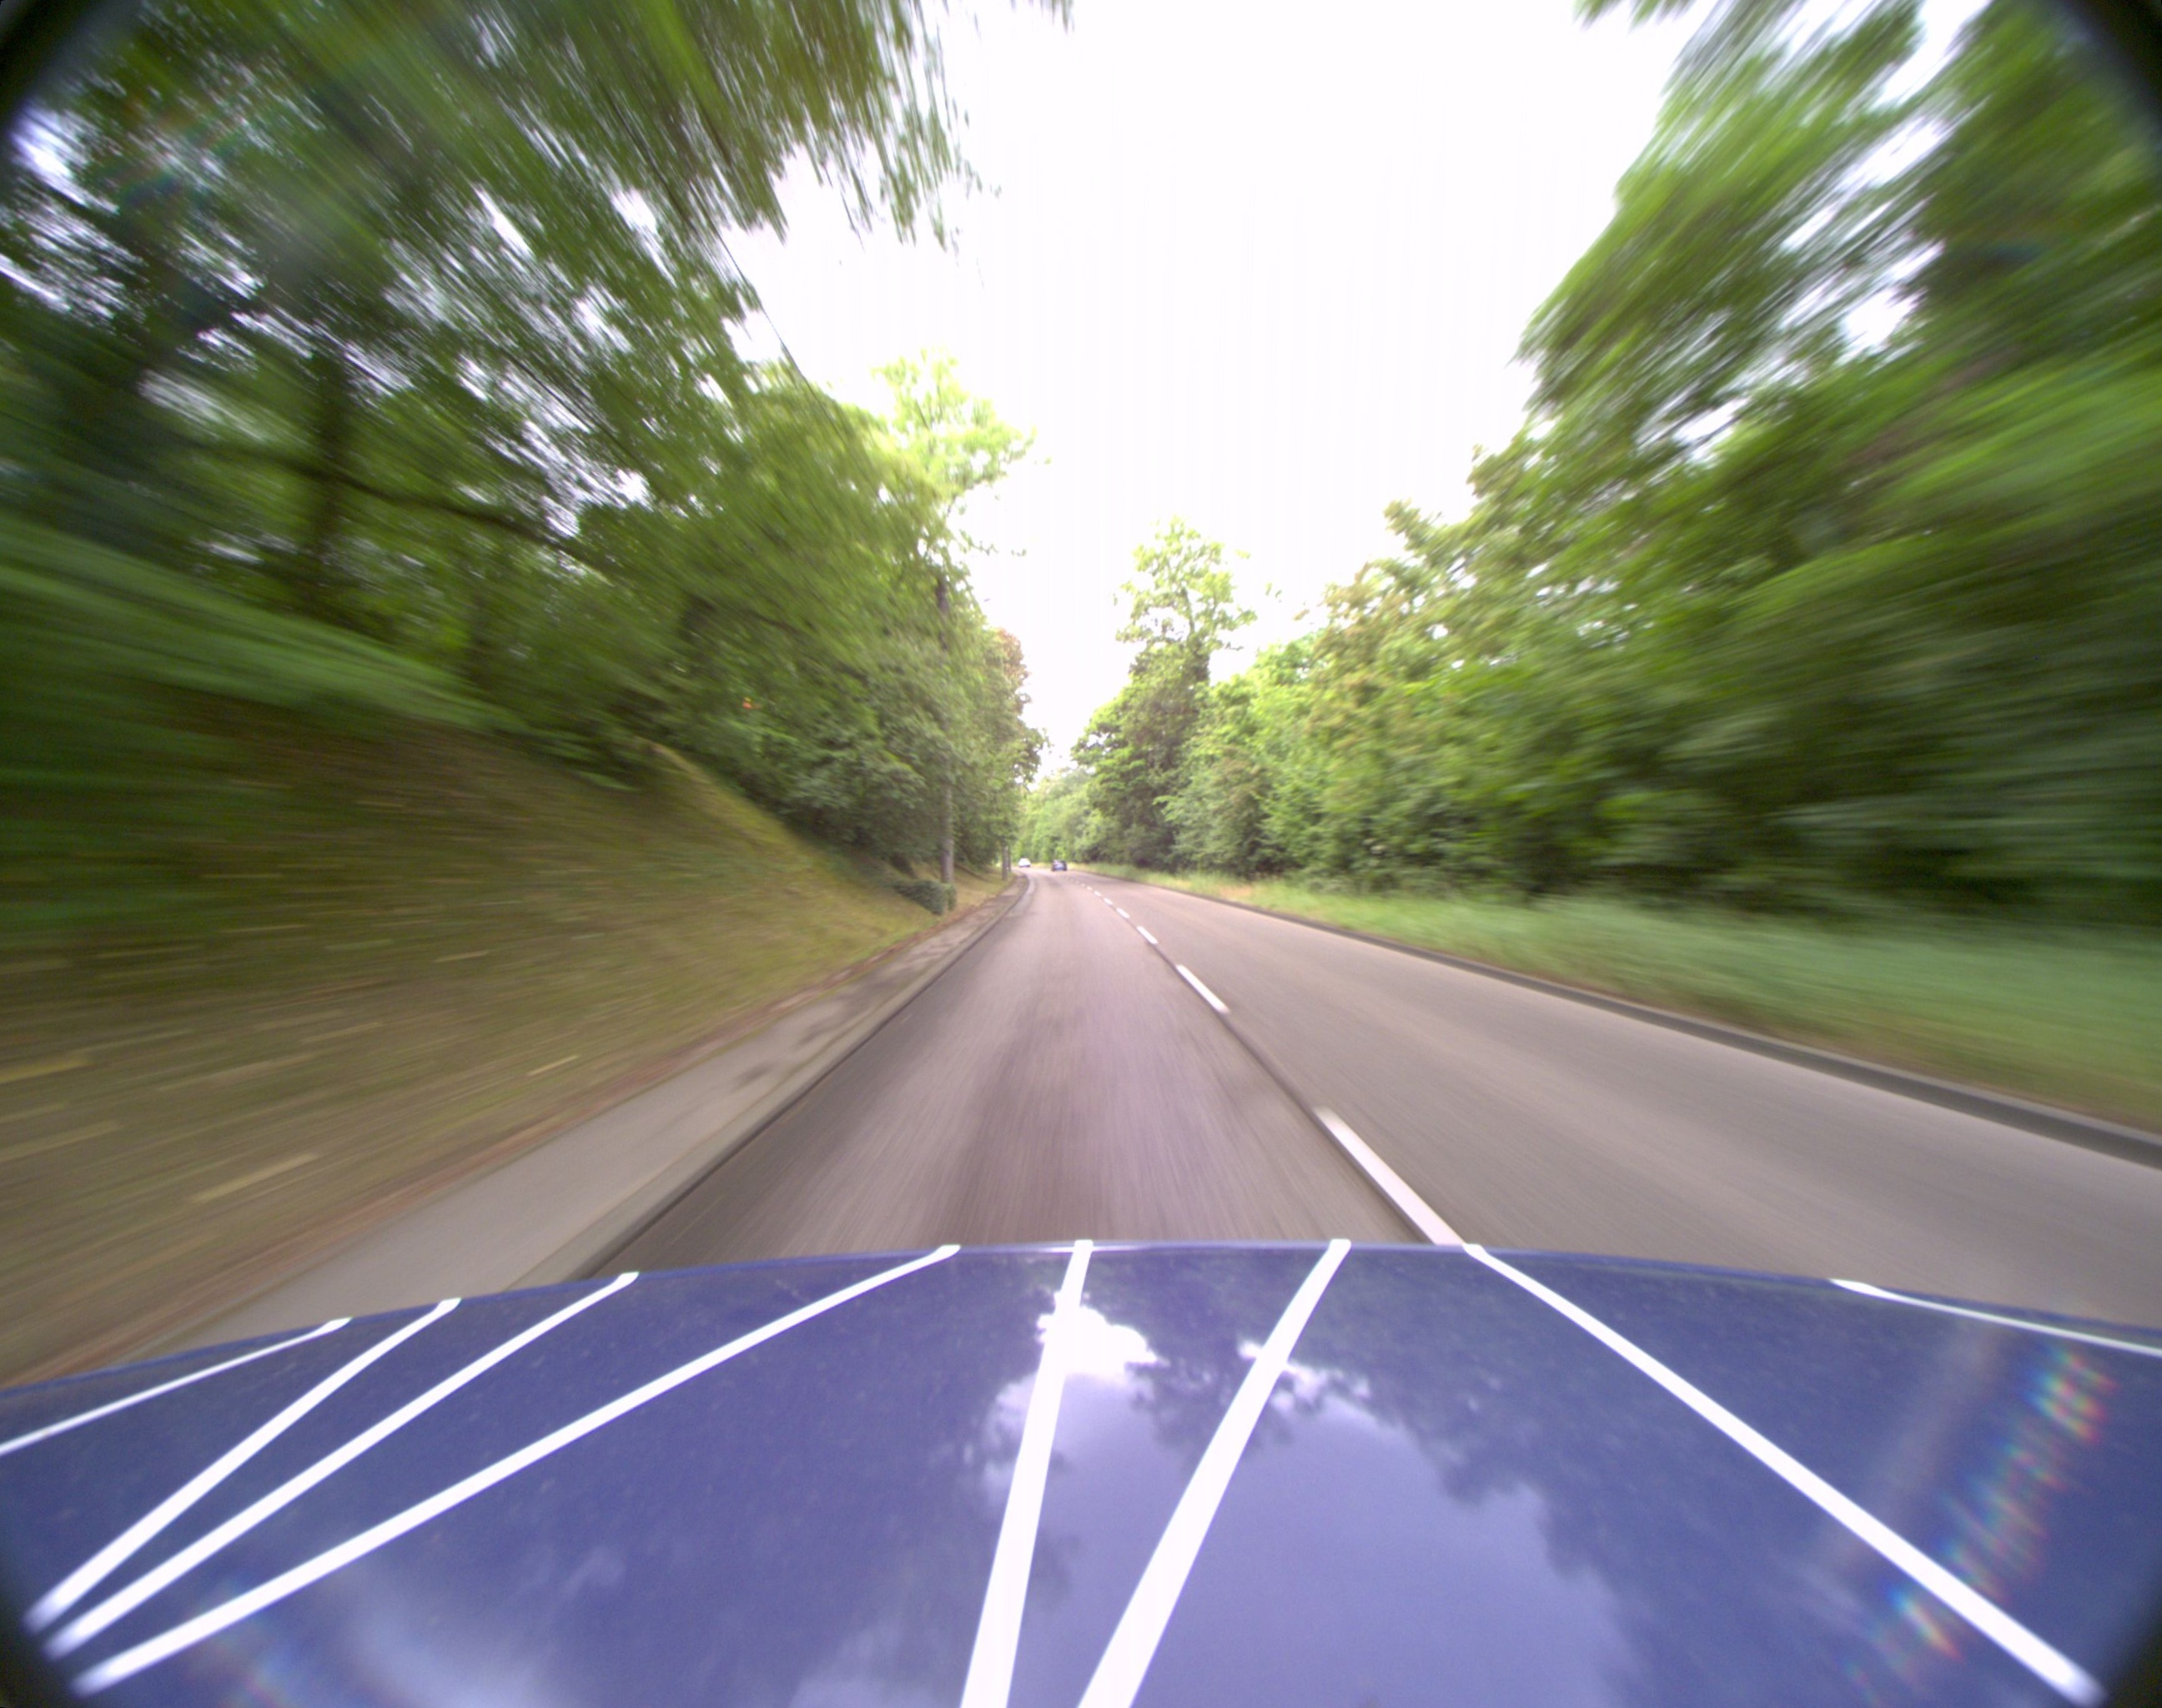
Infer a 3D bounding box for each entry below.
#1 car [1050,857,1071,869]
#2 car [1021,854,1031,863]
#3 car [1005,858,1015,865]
[{"bbox_3d":[-2.641,1.126,97.721,2.000,1.429,3.996,-3,1,-11],"label":"car"},{"bbox_3d":[-11.050,0.885,152.978,1.824,1.685,4.284,-2,1,-6],"label":"car"},{"bbox_3d":[-16.591,1.644,177.325,2.036,1.499,4.592,-2,1,-6],"label":"car"}]
